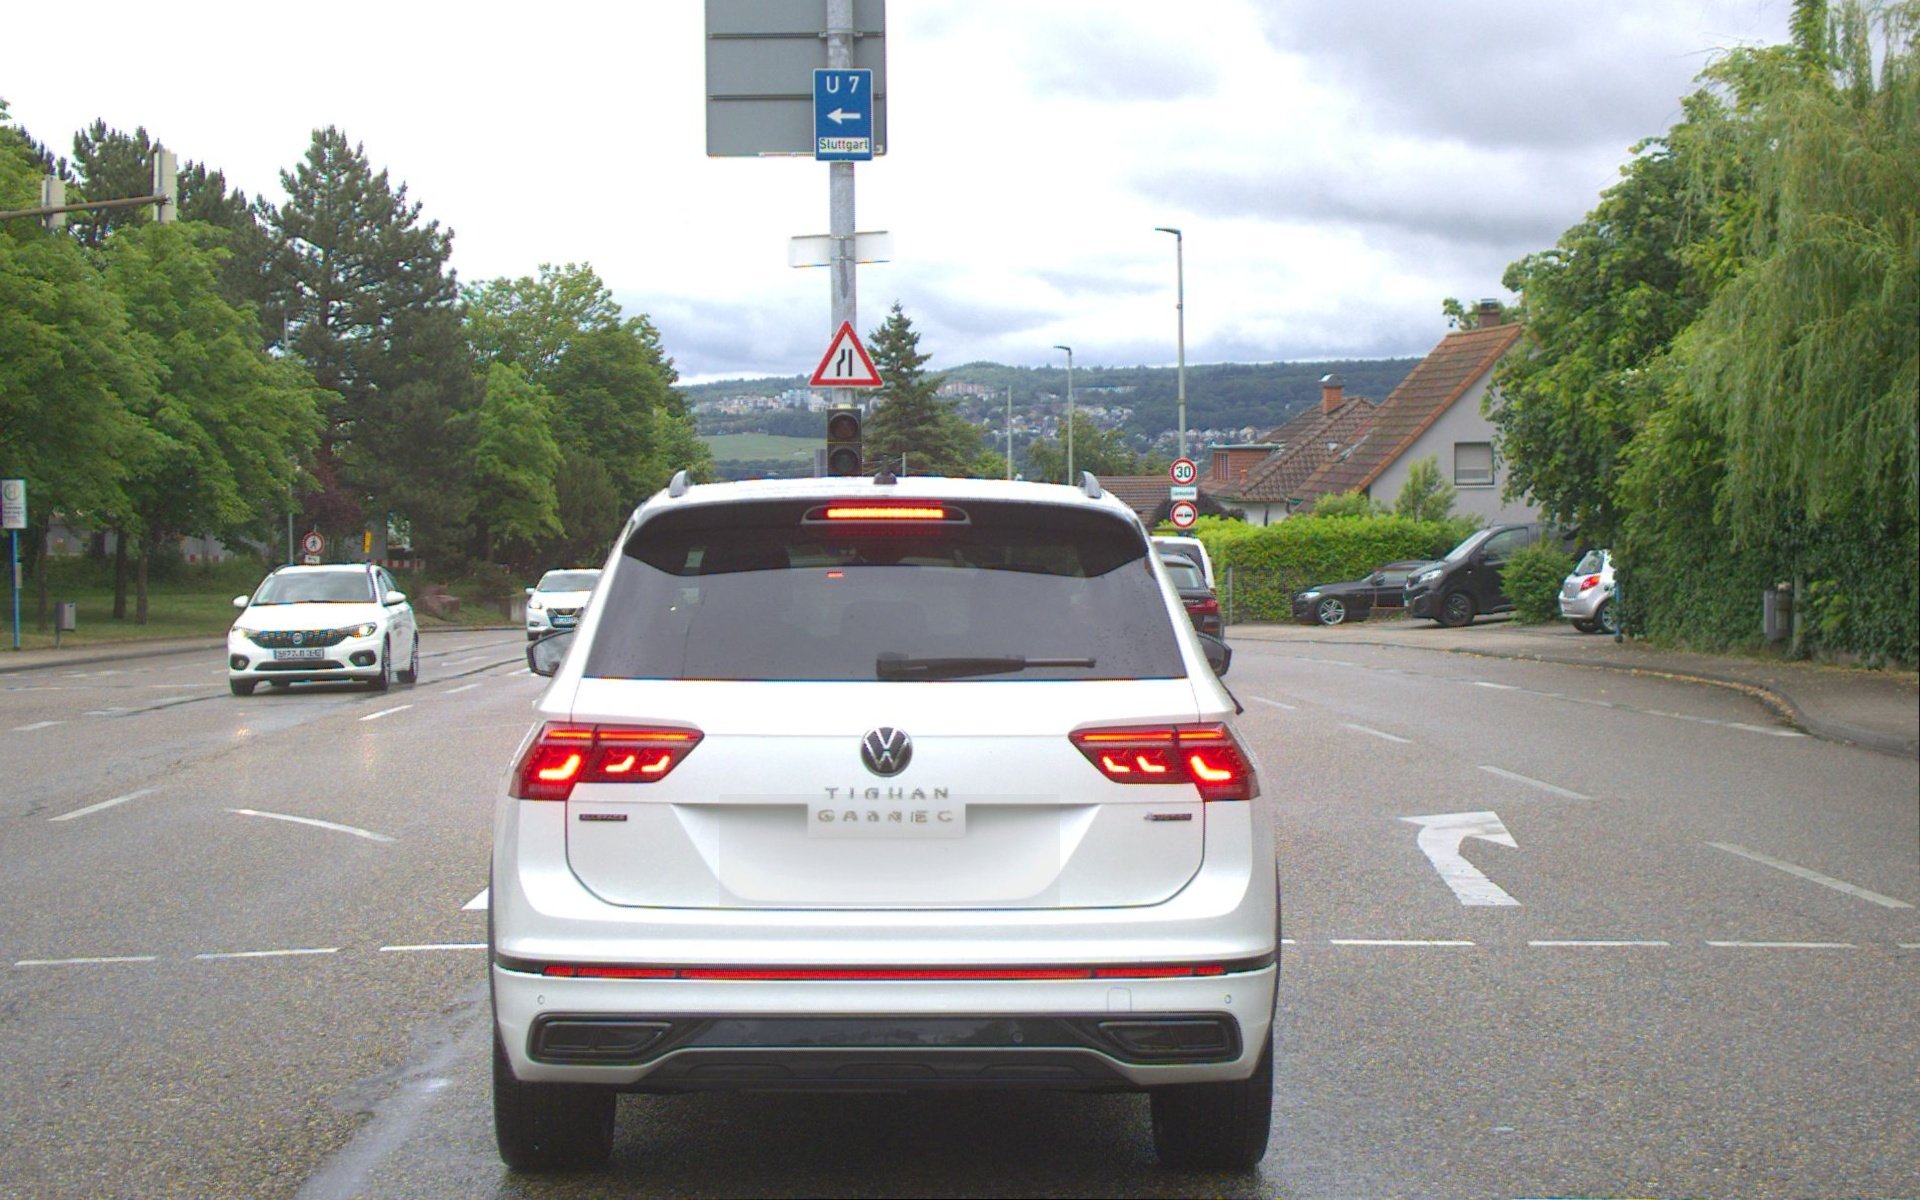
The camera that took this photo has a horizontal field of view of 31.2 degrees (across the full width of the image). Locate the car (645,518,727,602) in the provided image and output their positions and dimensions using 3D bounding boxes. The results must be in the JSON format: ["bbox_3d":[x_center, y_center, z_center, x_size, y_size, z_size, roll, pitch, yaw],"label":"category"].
[{"bbox_3d":[-8.561,-1.271,107.885,2.297,2.519,5.774,-1,1,-2],"label":"car"}]

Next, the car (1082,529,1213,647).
[{"bbox_3d":[2.884,-0.212,53.546,1.712,1.752,3.802,-1,1,-2],"label":"car"}]

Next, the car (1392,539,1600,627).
[{"bbox_3d":[10.298,-0.337,66.256,3.627,1.620,1.792,1,2,-4],"label":"car"}]

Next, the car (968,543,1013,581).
[{"bbox_3d":[1.296,-1.652,147.709,1.850,1.569,4.000,-1,1,0],"label":"car"}]

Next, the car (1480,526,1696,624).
[{"bbox_3d":[11.641,-0.480,63.864,3.627,1.740,1.708,0,3,-4],"label":"car"}]

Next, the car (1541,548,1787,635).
[{"bbox_3d":[11.962,-0.143,58.511,3.713,1.390,1.729,-1,0,-7],"label":"car"}]

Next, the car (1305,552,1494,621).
[{"bbox_3d":[9.063,-0.271,71.065,3.687,1.365,1.519,0,-1,-2],"label":"car"}]

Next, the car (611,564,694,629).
[{"bbox_3d":[-7.736,-0.109,86.834,1.775,1.497,4.472,-2,1,-1],"label":"car"}]

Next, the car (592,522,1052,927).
[{"bbox_3d":[-0.546,0.455,15.469,1.798,1.584,3.926,0,1,0],"label":"car"}]

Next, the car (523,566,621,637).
[{"bbox_3d":[-8.043,0.006,71.529,1.746,1.392,3.802,-1,1,-2],"label":"car"}]

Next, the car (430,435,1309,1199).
[{"bbox_3d":[-0.237,0.491,9.198,1.763,1.690,4.273,2,1,-1],"label":"car"}]

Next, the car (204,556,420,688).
[{"bbox_3d":[-7.590,0.221,40.640,1.967,1.449,4.309,-1,1,-4],"label":"car"}]

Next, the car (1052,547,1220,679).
[{"bbox_3d":[2.038,0.119,40.721,1.680,1.455,3.802,1,1,-2],"label":"car"}]
